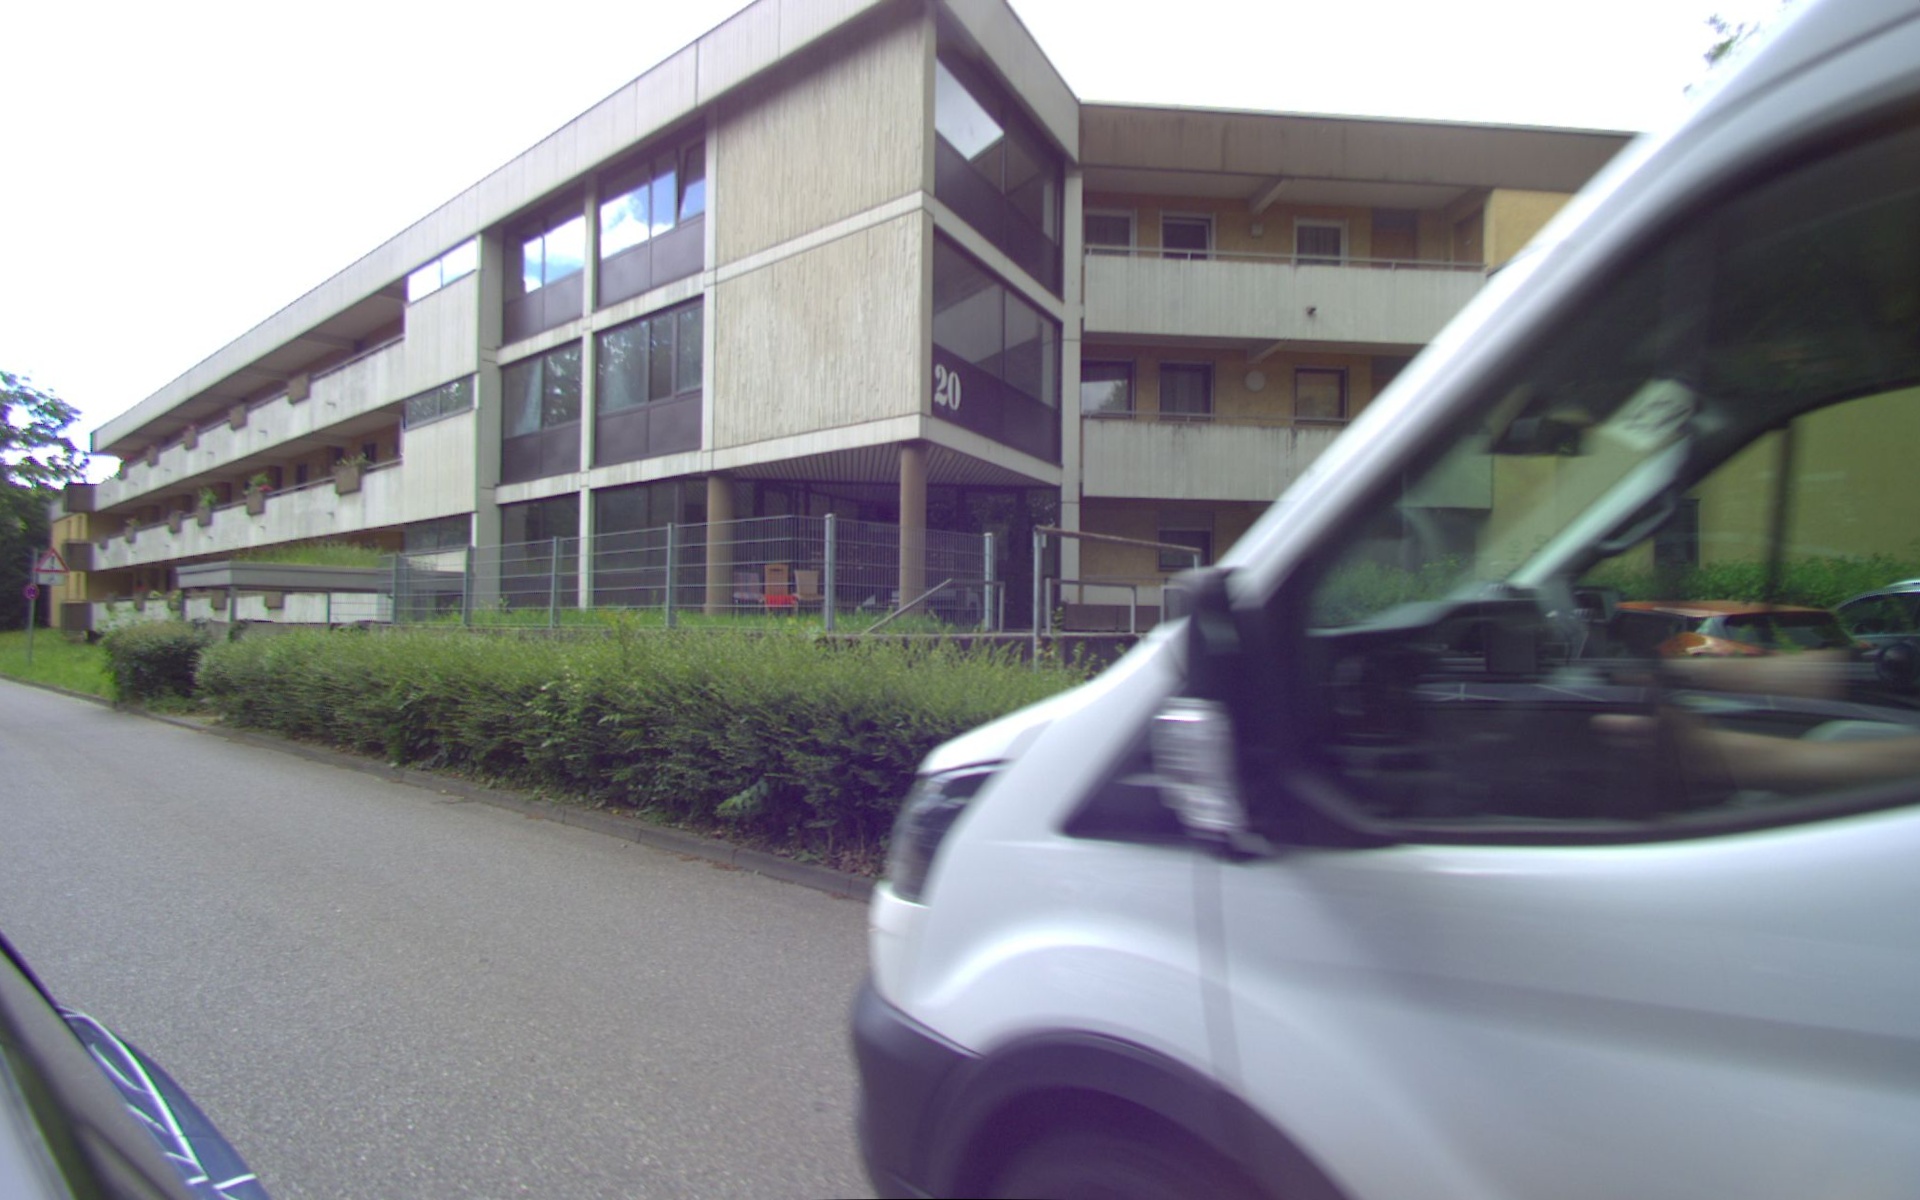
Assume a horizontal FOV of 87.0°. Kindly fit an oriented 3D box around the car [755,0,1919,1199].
[{"bbox_3d":[2.641,0.117,0.547,6.276,2.494,2.109,-2,-1,43],"label":"car"}]

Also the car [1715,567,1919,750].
[{"bbox_3d":[9.391,0.520,9.169,1.797,1.623,4.005,0,-1,-6],"label":"car"}]

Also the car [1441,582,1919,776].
[{"bbox_3d":[6.557,0.616,9.599,1.722,1.441,4.005,0,-1,-6],"label":"car"}]
